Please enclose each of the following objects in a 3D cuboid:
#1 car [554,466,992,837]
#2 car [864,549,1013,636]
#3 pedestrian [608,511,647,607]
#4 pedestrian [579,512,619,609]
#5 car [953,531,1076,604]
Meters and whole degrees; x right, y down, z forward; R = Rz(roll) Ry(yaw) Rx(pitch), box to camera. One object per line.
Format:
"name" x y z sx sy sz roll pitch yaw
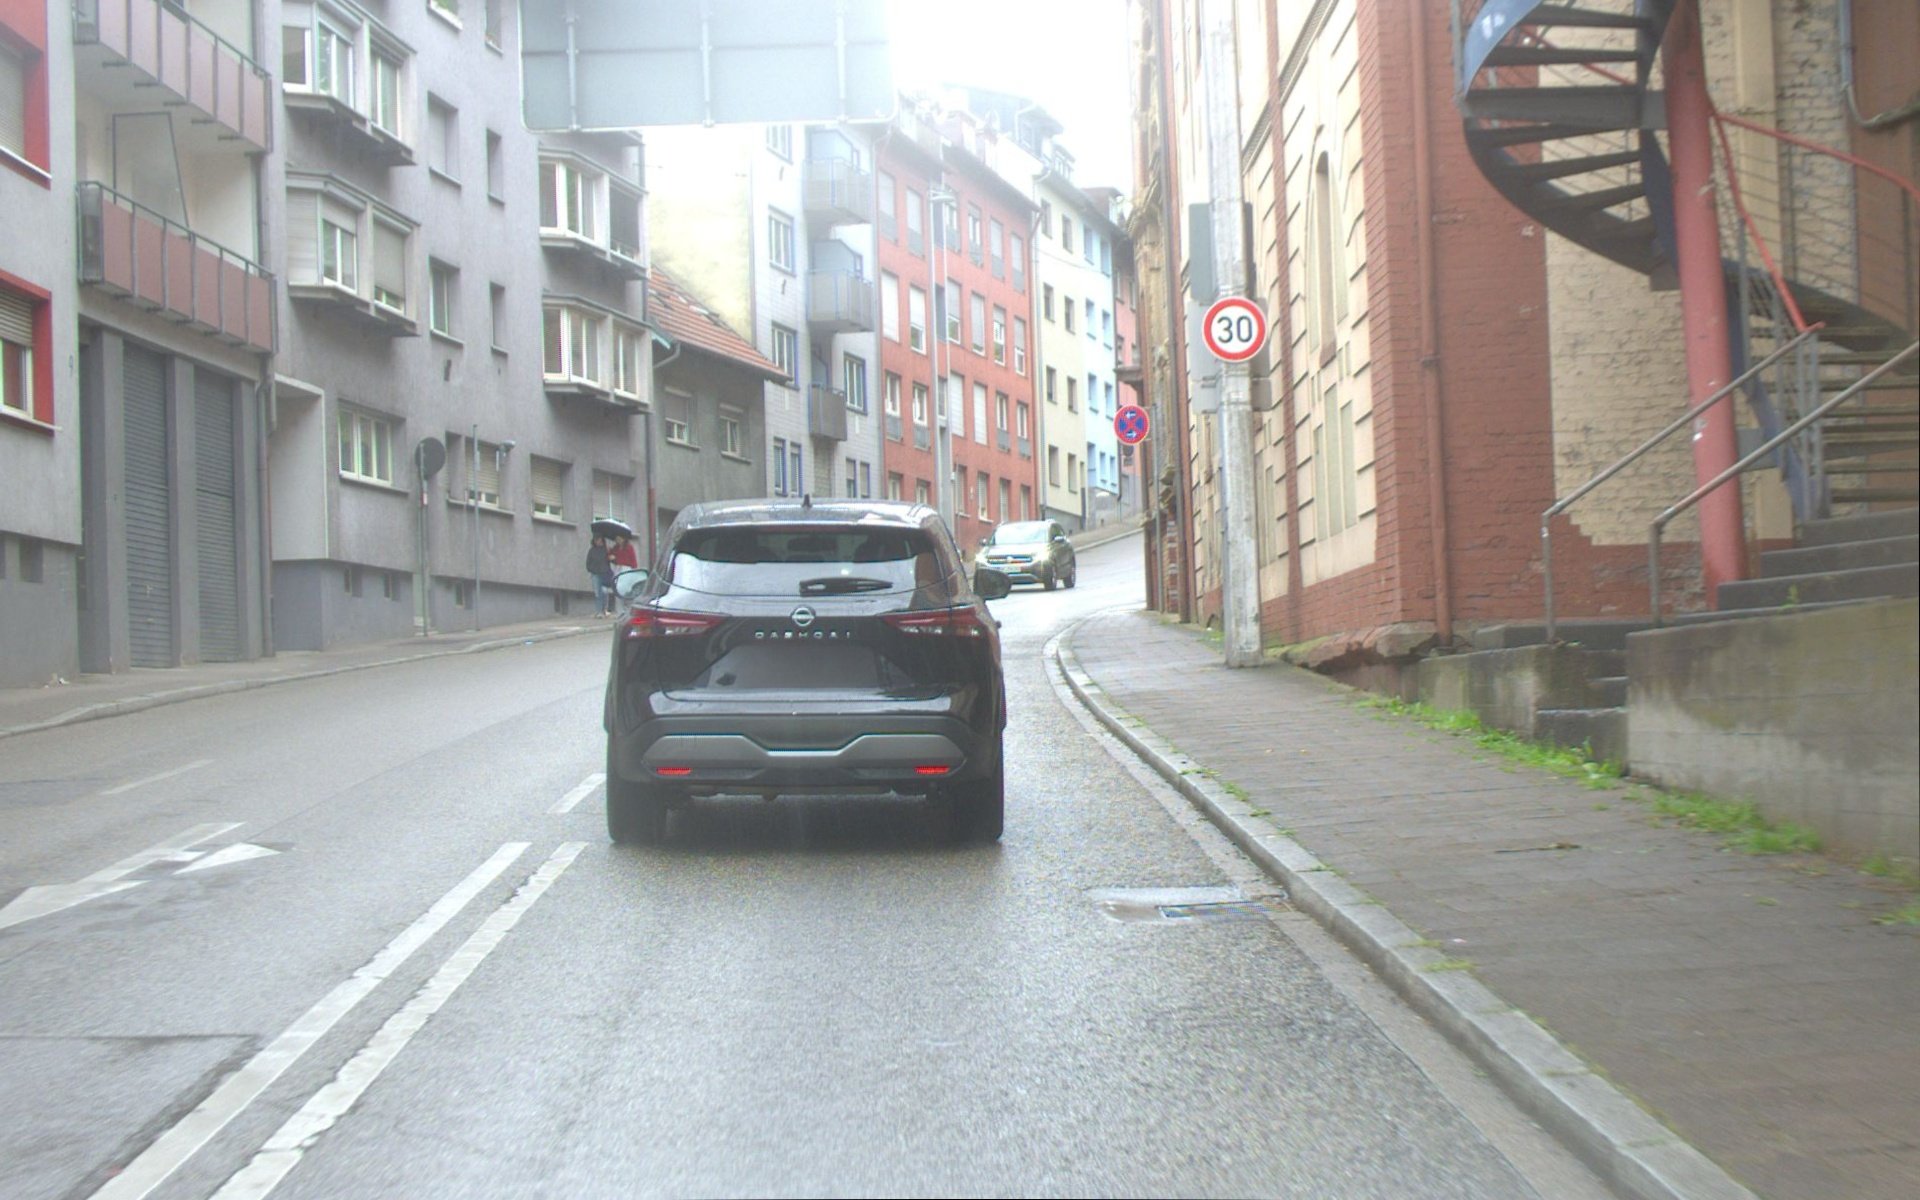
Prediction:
"car" -0.924 0.215 16.862 1.881 1.588 3.921 -1 0 -3
"car" -0.375 -0.131 65.095 1.795 1.505 3.997 -3 -1 15
"pedestrian" -6.226 -0.774 64.424 0.523 1.770 0.622 -3 2 6
"pedestrian" -6.767 -0.749 64.474 0.523 1.770 0.622 -3 2 6
"car" 1.246 -0.695 76.495 1.795 1.505 3.997 -3 -1 15
